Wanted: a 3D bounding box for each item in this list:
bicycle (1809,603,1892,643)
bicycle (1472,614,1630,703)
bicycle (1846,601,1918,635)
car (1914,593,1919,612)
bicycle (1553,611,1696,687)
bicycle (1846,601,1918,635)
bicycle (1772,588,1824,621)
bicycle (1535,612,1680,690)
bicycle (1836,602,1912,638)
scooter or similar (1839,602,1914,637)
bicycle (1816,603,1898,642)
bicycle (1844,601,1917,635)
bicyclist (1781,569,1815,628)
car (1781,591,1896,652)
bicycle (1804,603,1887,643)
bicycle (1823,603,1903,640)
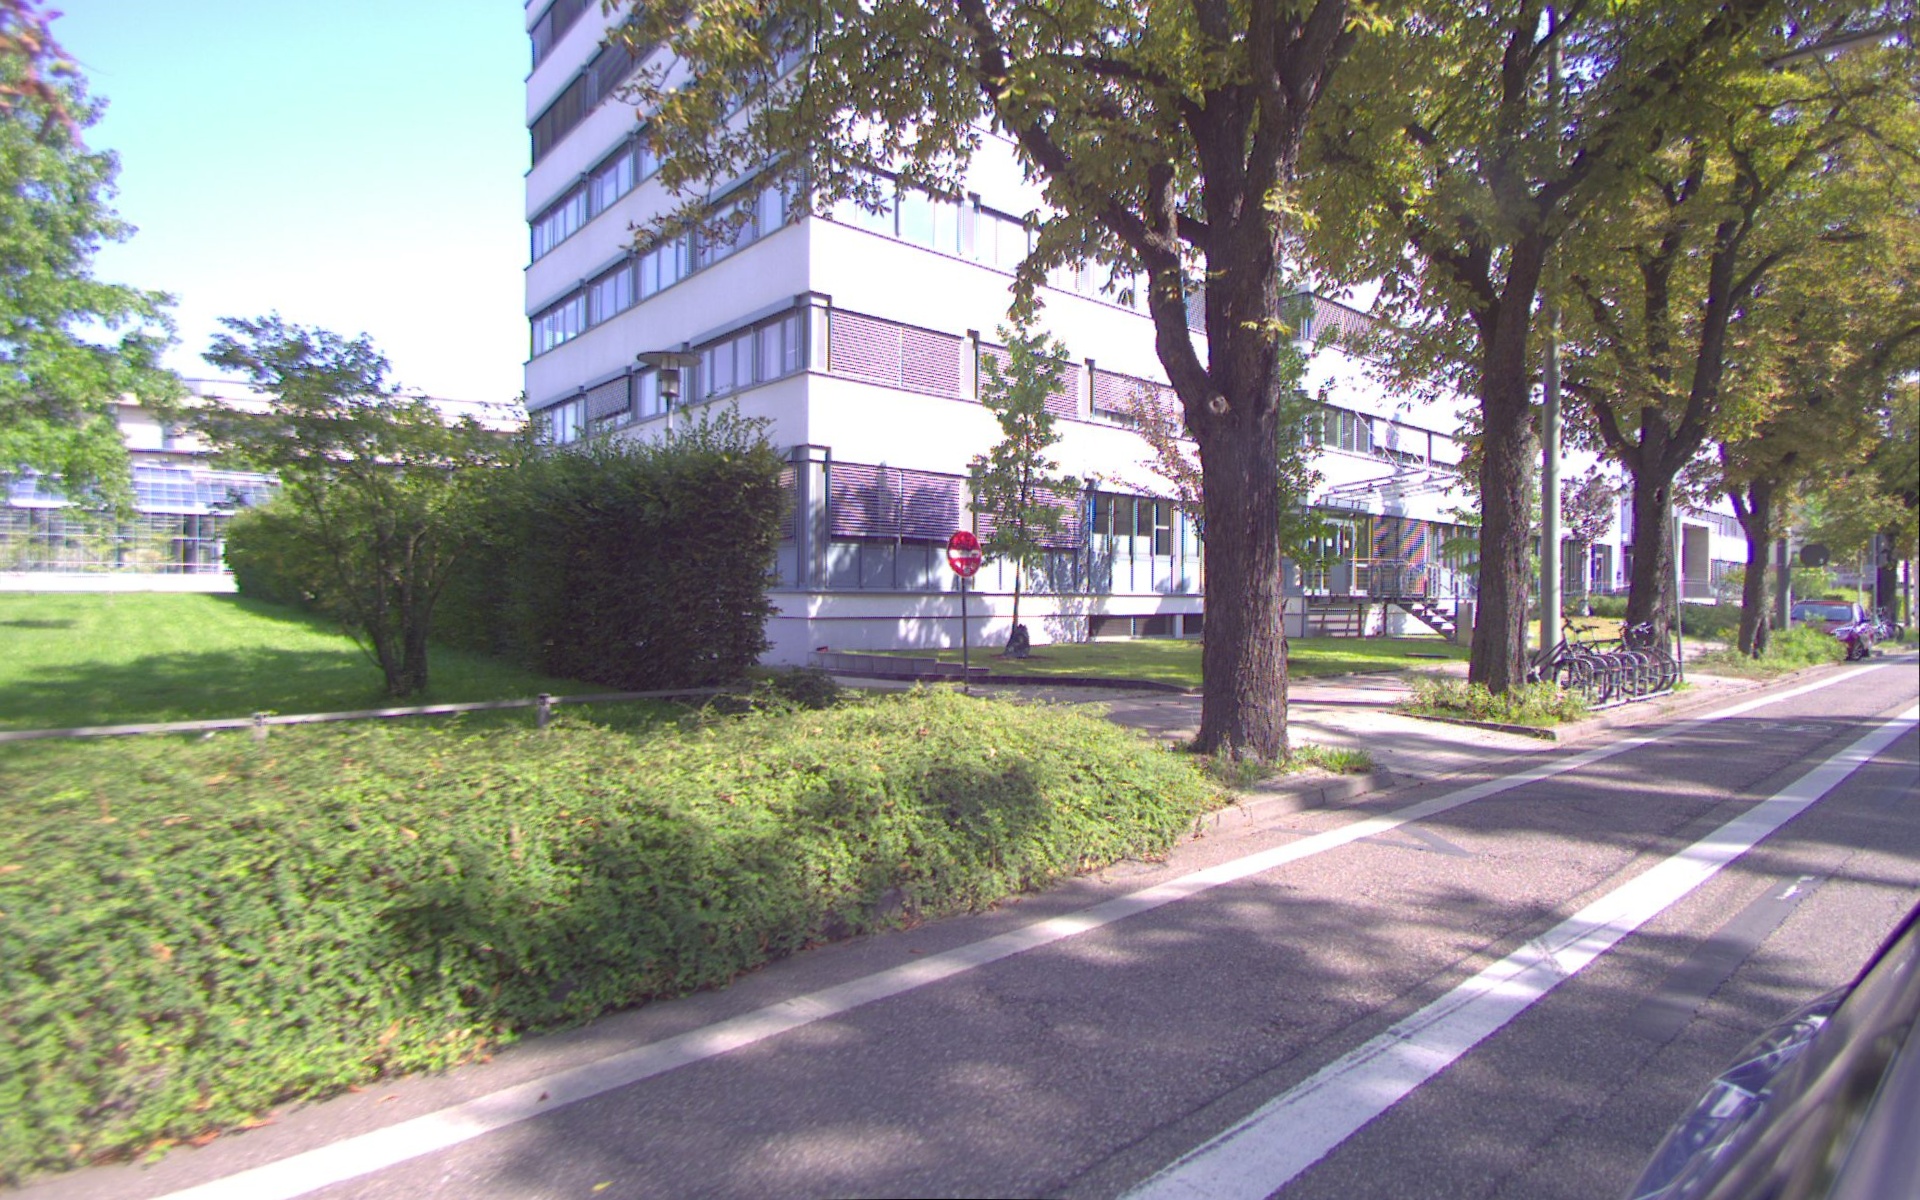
[{"bbox_3d":[26.325,0.661,29.941,0.531,1.085,1.774,0,1,-41],"label":"bicycle"},{"bbox_3d":[8.000,0.763,13.770,0.531,1.063,1.774,0,1,-41],"label":"bicycle"},{"bbox_3d":[31.661,0.598,34.764,0.531,1.085,1.774,0,1,-41],"label":"bicycle"},{"bbox_3d":[78.025,0.176,79.474,4.540,1.534,1.930,0,0,45],"label":"car"},{"bbox_3d":[10.343,0.736,15.804,0.531,1.063,1.774,0,1,-41],"label":"bicycle"},{"bbox_3d":[31.638,0.598,34.758,0.531,1.085,1.774,0,1,-41],"label":"bicycle"},{"bbox_3d":[29.555,0.146,35.663,2.494,1.139,1.136,-1,0,-44],"label":"bicycle"},{"bbox_3d":[9.815,0.741,15.397,0.531,1.063,1.774,0,1,-41],"label":"bicycle"},{"bbox_3d":[29.654,0.622,32.845,0.531,1.085,1.774,0,1,-41],"label":"bicycle"},{"bbox_3d":[30.074,0.617,33.242,0.531,1.085,1.774,0,1,-41],"label":"scooter or similar"},{"bbox_3d":[26.956,0.654,30.430,0.531,1.085,1.774,0,1,-41],"label":"bicycle"},{"bbox_3d":[31.239,0.603,34.349,0.531,1.085,1.774,0,1,-41],"label":"bicycle"},{"bbox_3d":[29.489,-0.066,35.605,1.253,2.039,0.781,0,0,-44],"label":"bicyclist"},{"bbox_3d":[23.478,0.508,27.004,4.200,1.480,1.759,0,1,-41],"label":"car"},{"bbox_3d":[25.811,0.666,29.523,0.531,1.085,1.774,0,1,-41],"label":"bicycle"},{"bbox_3d":[27.768,0.645,31.147,0.531,1.085,1.774,0,1,-41],"label":"bicycle"}]
